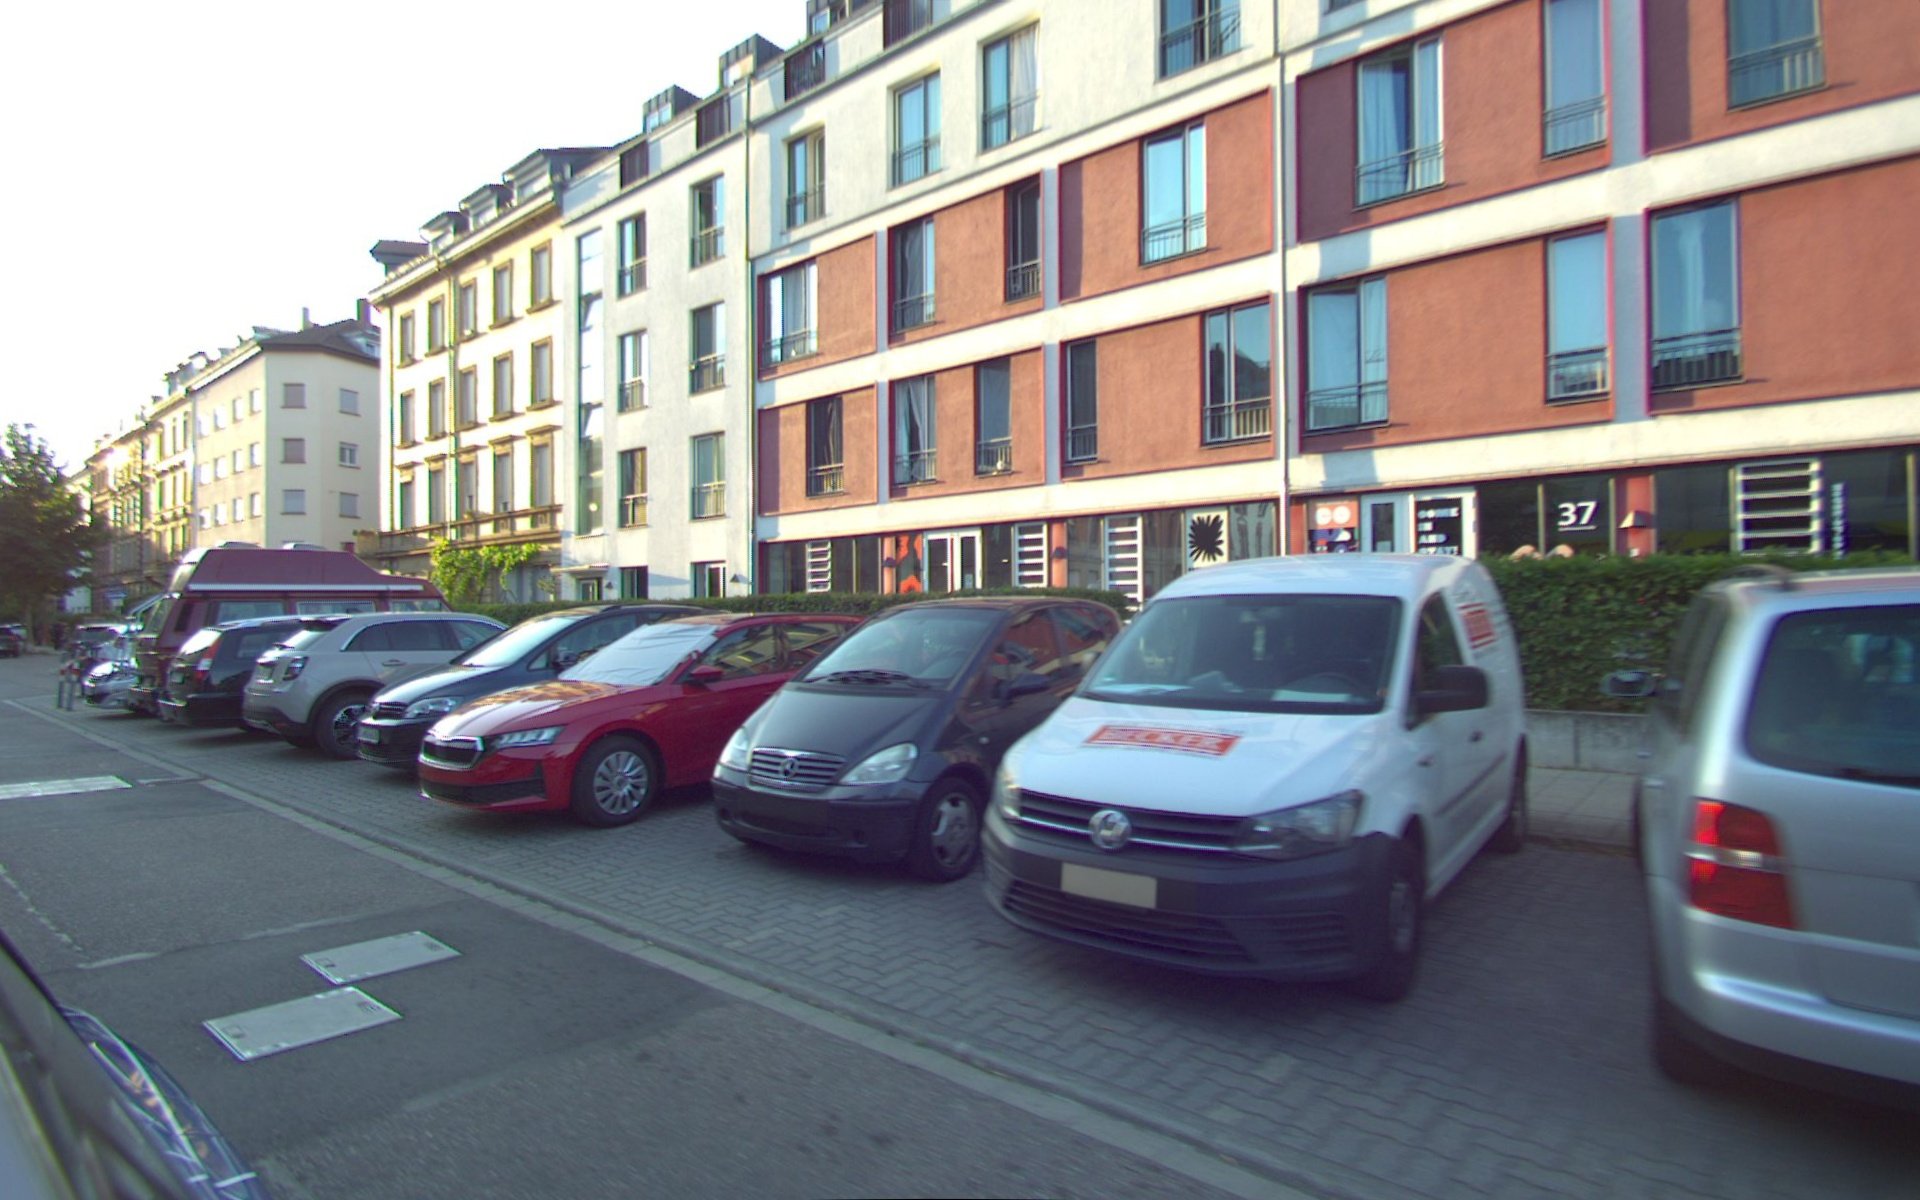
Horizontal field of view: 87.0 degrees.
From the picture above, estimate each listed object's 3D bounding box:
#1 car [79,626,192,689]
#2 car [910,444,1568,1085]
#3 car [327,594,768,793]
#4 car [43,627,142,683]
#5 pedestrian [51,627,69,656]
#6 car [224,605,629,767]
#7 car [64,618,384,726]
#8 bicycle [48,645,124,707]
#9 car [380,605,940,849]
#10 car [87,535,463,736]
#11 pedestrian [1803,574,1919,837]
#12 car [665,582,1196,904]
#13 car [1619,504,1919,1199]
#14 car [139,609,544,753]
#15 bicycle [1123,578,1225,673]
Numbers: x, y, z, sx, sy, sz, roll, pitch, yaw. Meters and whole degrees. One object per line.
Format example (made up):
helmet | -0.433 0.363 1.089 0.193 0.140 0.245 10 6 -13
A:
car | -22.318 1.508 27.363 3.578 1.522 1.658 -1 0 39
car | 1.793 0.520 5.264 1.895 1.910 4.138 -2 -1 37
car | -4.057 0.783 10.405 1.699 1.629 3.845 -1 0 42
car | -26.182 1.604 30.510 3.734 1.534 1.577 -1 1 39
pedestrian | -47.641 2.198 53.599 0.638 1.545 0.636 -2 -2 43
car | -6.168 0.867 12.026 1.755 1.551 3.906 -1 0 42
car | -12.111 1.091 16.896 1.800 1.427 3.945 -1 1 34
bicycle | -16.736 1.419 19.353 2.414 1.062 0.794 -1 -1 42
car | -2.233 0.805 8.470 1.787 1.505 4.219 -1 -1 41
car | -10.143 0.468 15.260 1.931 2.576 4.356 -1 -1 41
pedestrian | 5.680 0.602 6.137 0.830 1.499 0.849 -1 -1 39
car | 0.013 0.702 6.889 1.782 1.574 3.497 -1 0 38
car | 3.706 0.605 3.664 2.046 1.601 3.957 -1 -2 31
car | -8.016 0.930 13.480 1.704 1.536 4.293 -1 0 40
bicycle | 3.161 0.369 15.125 0.505 1.323 1.822 0 -1 -23
